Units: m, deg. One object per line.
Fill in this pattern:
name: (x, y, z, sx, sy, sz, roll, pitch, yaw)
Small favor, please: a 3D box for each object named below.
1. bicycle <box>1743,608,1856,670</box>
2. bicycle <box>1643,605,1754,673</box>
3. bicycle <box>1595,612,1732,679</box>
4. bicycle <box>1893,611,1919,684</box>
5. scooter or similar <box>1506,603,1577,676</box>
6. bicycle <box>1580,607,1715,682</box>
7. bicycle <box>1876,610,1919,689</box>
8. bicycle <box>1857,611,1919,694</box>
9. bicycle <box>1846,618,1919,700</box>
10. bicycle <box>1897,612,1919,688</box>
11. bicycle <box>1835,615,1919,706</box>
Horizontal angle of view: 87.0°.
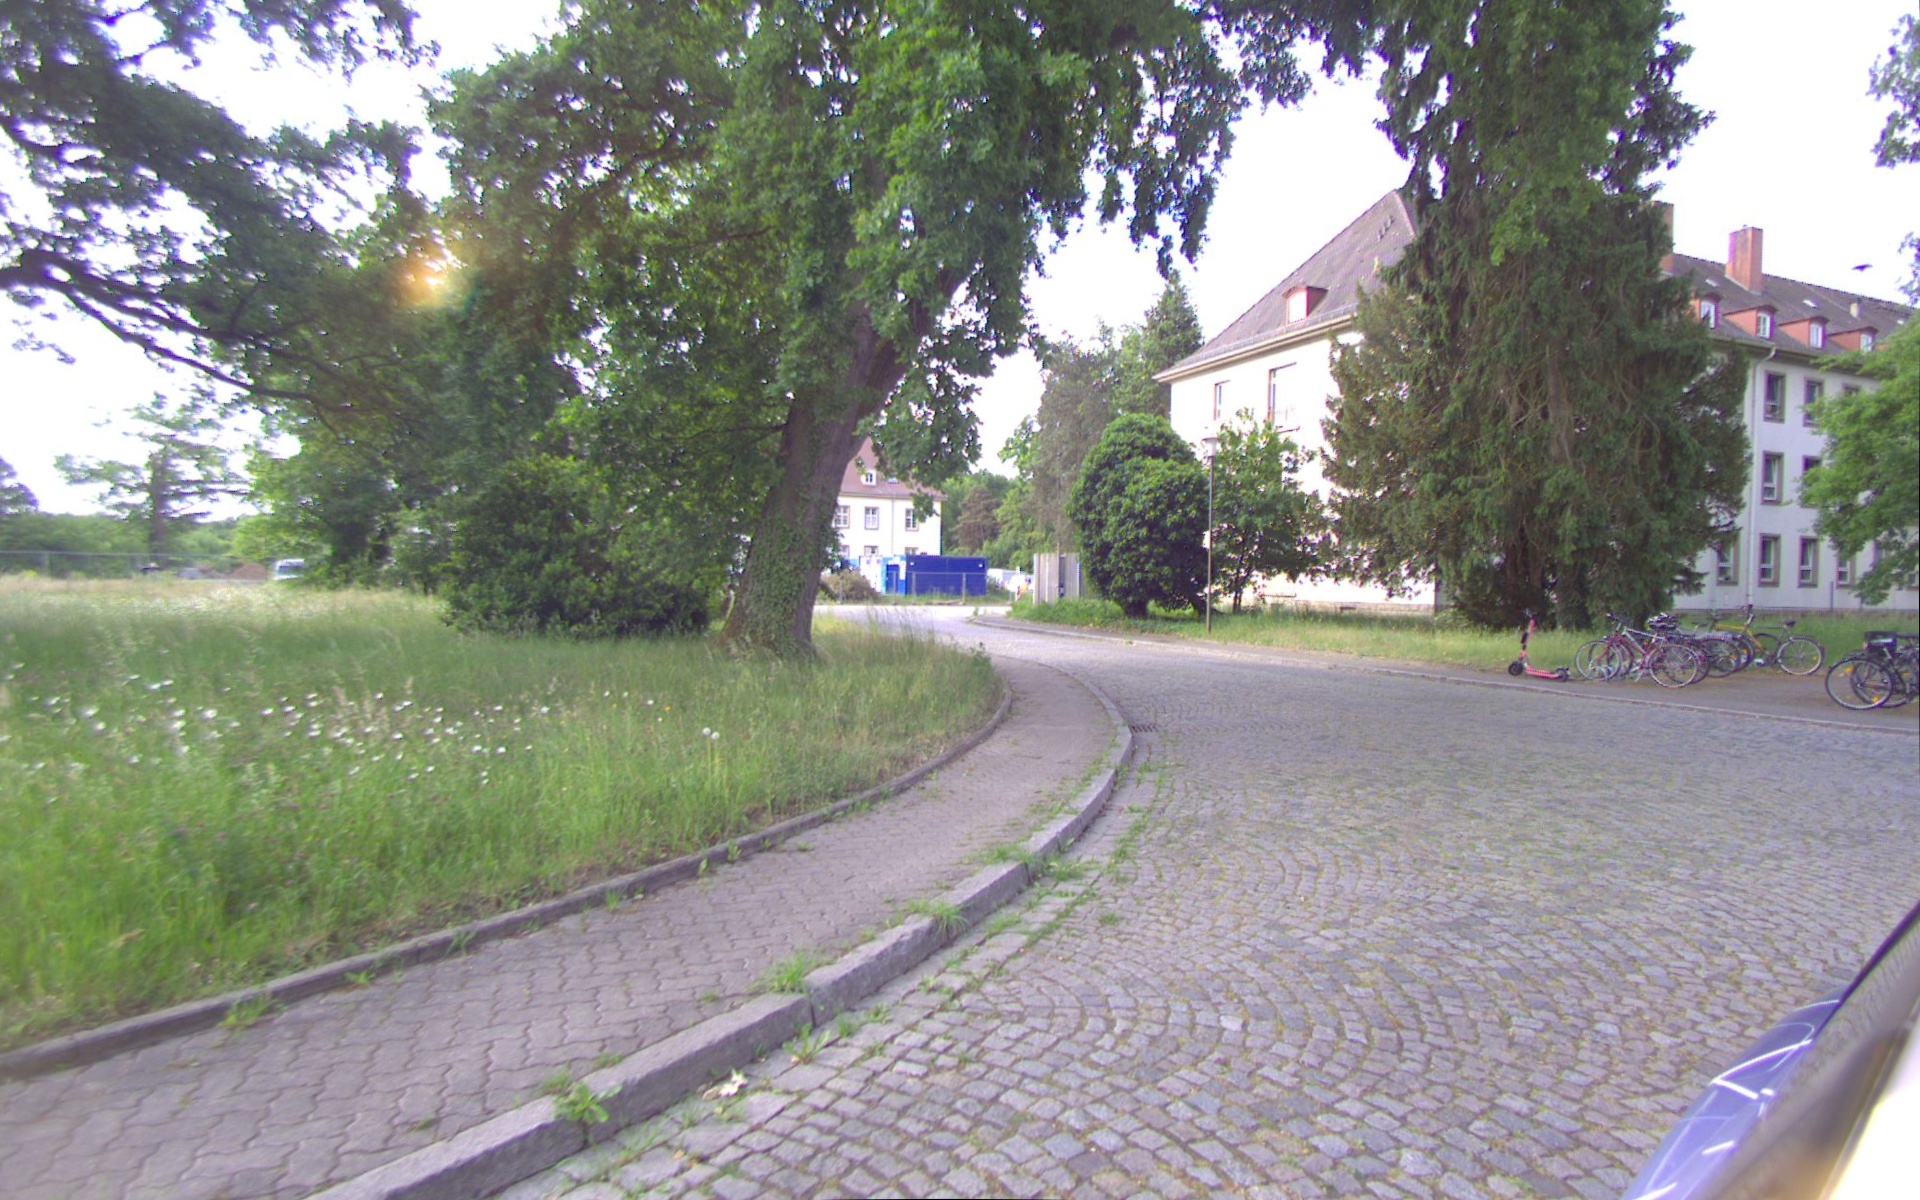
bicycle: (15.491, 0.701, 18.709, 1.561, 1.047, 0.469, 3, 2, 44)
bicycle: (13.133, 0.671, 18.027, 1.557, 1.101, 0.555, 2, 2, 37)
bicycle: (11.852, 0.743, 17.087, 1.849, 1.002, 0.449, 2, 2, 41)
bicycle: (15.534, 0.770, 15.451, 0.511, 1.101, 1.862, -3, 4, -44)
scooter or similar: (10.159, 0.676, 17.715, 0.377, 1.209, 1.066, 1, 1, -20)
bicycle: (11.372, 0.716, 16.776, 1.805, 1.101, 0.472, 2, 4, 41)
bicycle: (14.386, 0.747, 14.356, 0.471, 1.101, 2.013, -3, 4, -44)
bicycle: (13.835, 0.763, 14.054, 0.471, 1.101, 2.013, -3, 4, -44)
bicycle: (13.011, 0.808, 13.304, 0.471, 1.022, 2.013, -3, 4, -44)
bicycle: (15.012, 0.781, 14.863, 0.471, 1.101, 1.785, -3, 4, -44)
bicycle: (12.619, 0.805, 13.020, 0.471, 1.101, 2.013, -3, 4, -44)
